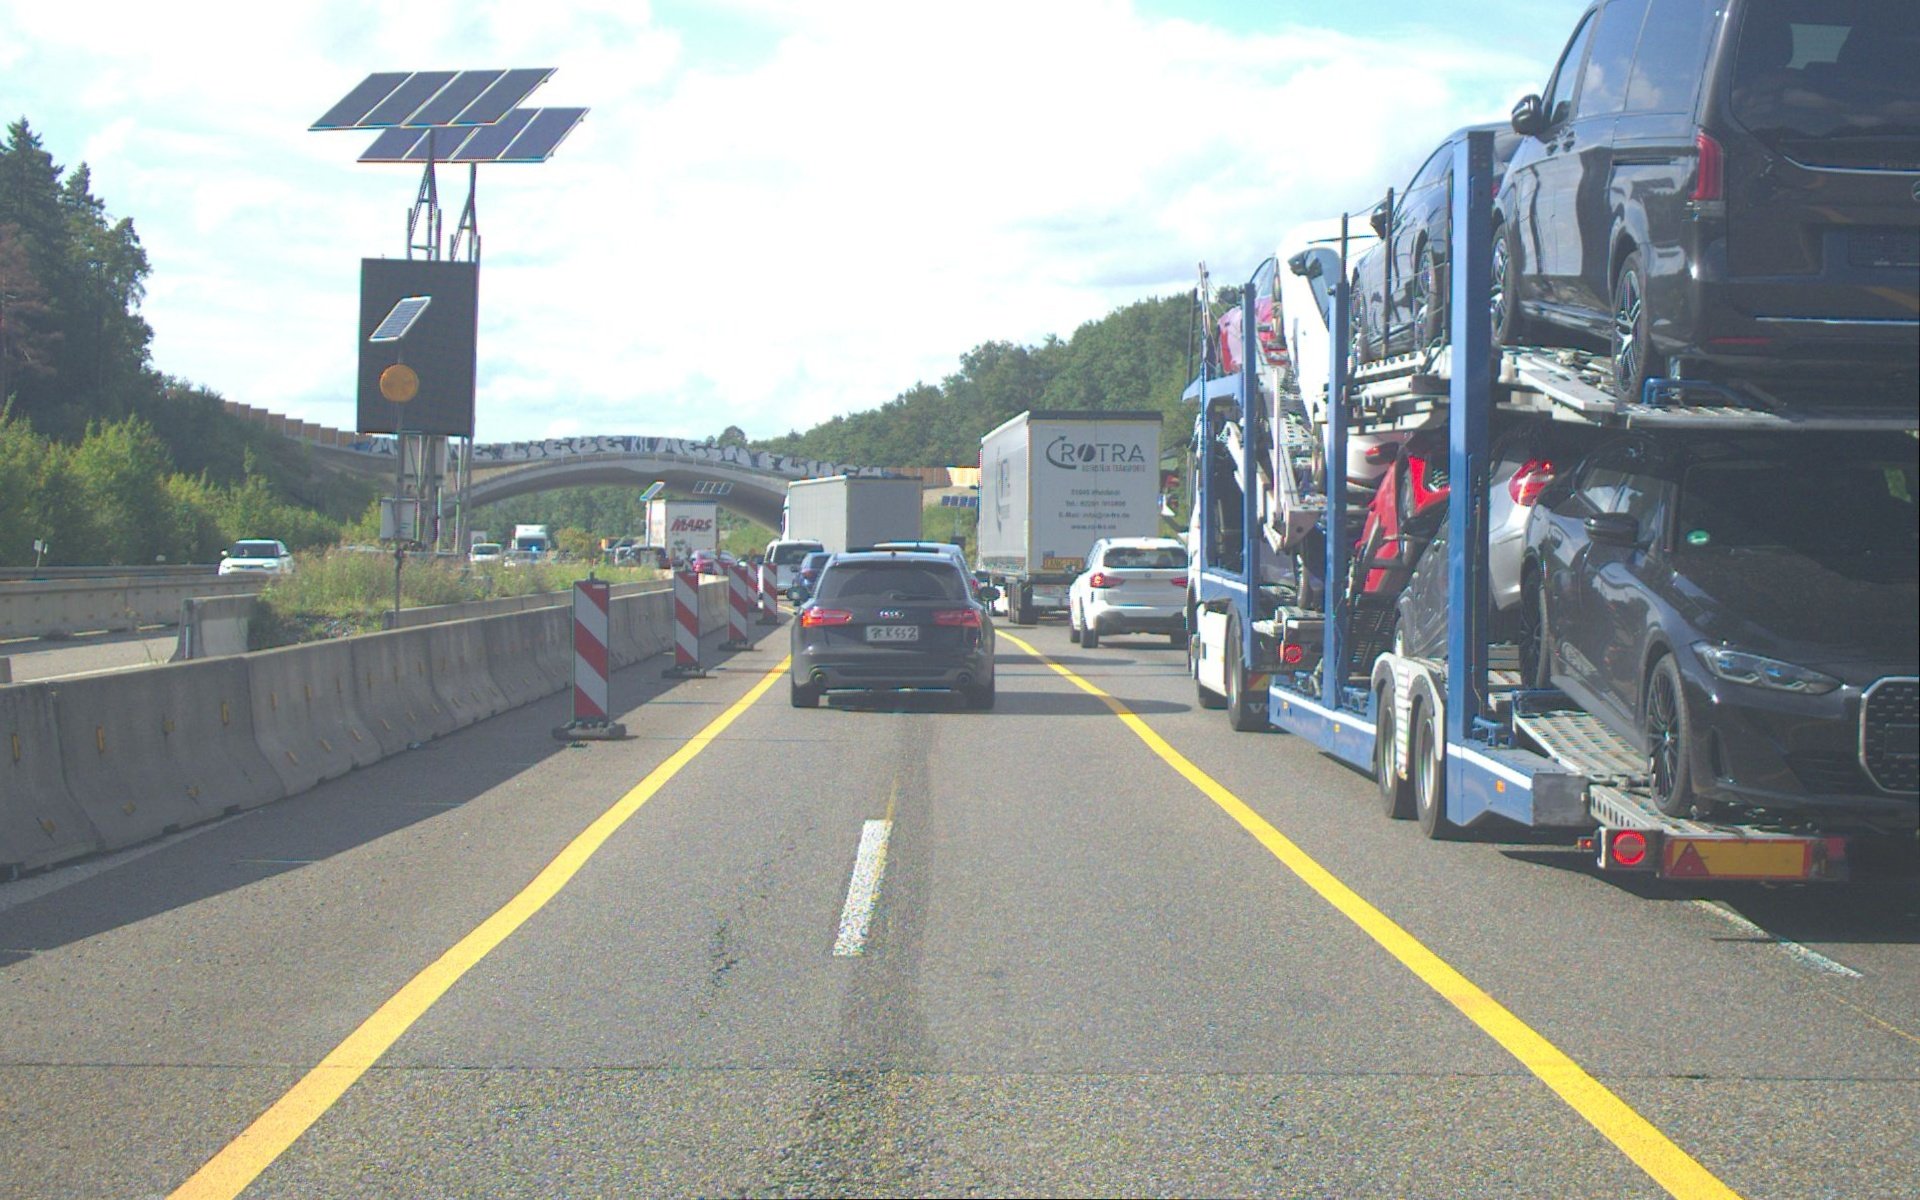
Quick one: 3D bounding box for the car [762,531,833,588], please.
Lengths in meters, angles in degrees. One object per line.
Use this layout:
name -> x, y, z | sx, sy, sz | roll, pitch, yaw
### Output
car -> -4.896, -1.218, 103.165 | 1.890, 1.637, 4.018 | 1, 1, -6

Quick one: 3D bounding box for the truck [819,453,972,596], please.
truck -> -2.337, -2.554, 117.708 | 4.318, 4.584, 11.127 | 1, 1, -6

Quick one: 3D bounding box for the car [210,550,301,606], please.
car -> -20.879, -0.663, 102.043 | 1.778, 1.597, 4.018 | 1, 1, 1

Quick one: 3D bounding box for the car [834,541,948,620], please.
car -> -1.346, -0.393, 65.625 | 1.890, 1.441, 4.001 | 1, 1, -5

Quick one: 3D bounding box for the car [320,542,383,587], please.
car -> -22.394, -1.332, 126.695 | 1.778, 1.597, 4.677 | 1, 1, -4

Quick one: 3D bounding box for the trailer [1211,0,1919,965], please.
trailer -> 4.083, -0.898, 20.317 | 3.726, 4.182, 16.228 | 1, 1, -1

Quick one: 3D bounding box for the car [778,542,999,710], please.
car -> -0.604, 0.201, 32.102 | 1.890, 1.441, 4.000 | 1, 1, 1

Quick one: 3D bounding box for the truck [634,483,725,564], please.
truck -> -14.127, -3.802, 172.476 | 3.653, 3.915, 11.070 | 1, 1, -9

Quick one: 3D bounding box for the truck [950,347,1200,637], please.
truck -> 2.120, -2.120, 72.025 | 3.677, 5.335, 16.204 | 1, 1, -3

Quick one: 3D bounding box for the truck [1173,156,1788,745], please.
truck -> 3.993, -1.131, 28.731 | 3.761, 4.182, 7.951 | 1, 1, -1

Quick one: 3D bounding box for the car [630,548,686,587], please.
car -> -12.531, -1.356, 142.452 | 1.777, 1.597, 4.019 | 1, 1, -13

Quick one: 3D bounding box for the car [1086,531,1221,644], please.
car -> 2.920, -0.209, 52.628 | 1.890, 1.637, 4.018 | 1, 1, 1

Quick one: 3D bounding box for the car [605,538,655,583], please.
car -> -15.137, -1.819, 157.447 | 1.993, 2.007, 4.001 | 1, 1, -10

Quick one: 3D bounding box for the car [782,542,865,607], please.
car -> -3.569, -0.683, 89.539 | 1.890, 1.637, 4.019 | 1, 1, -6
